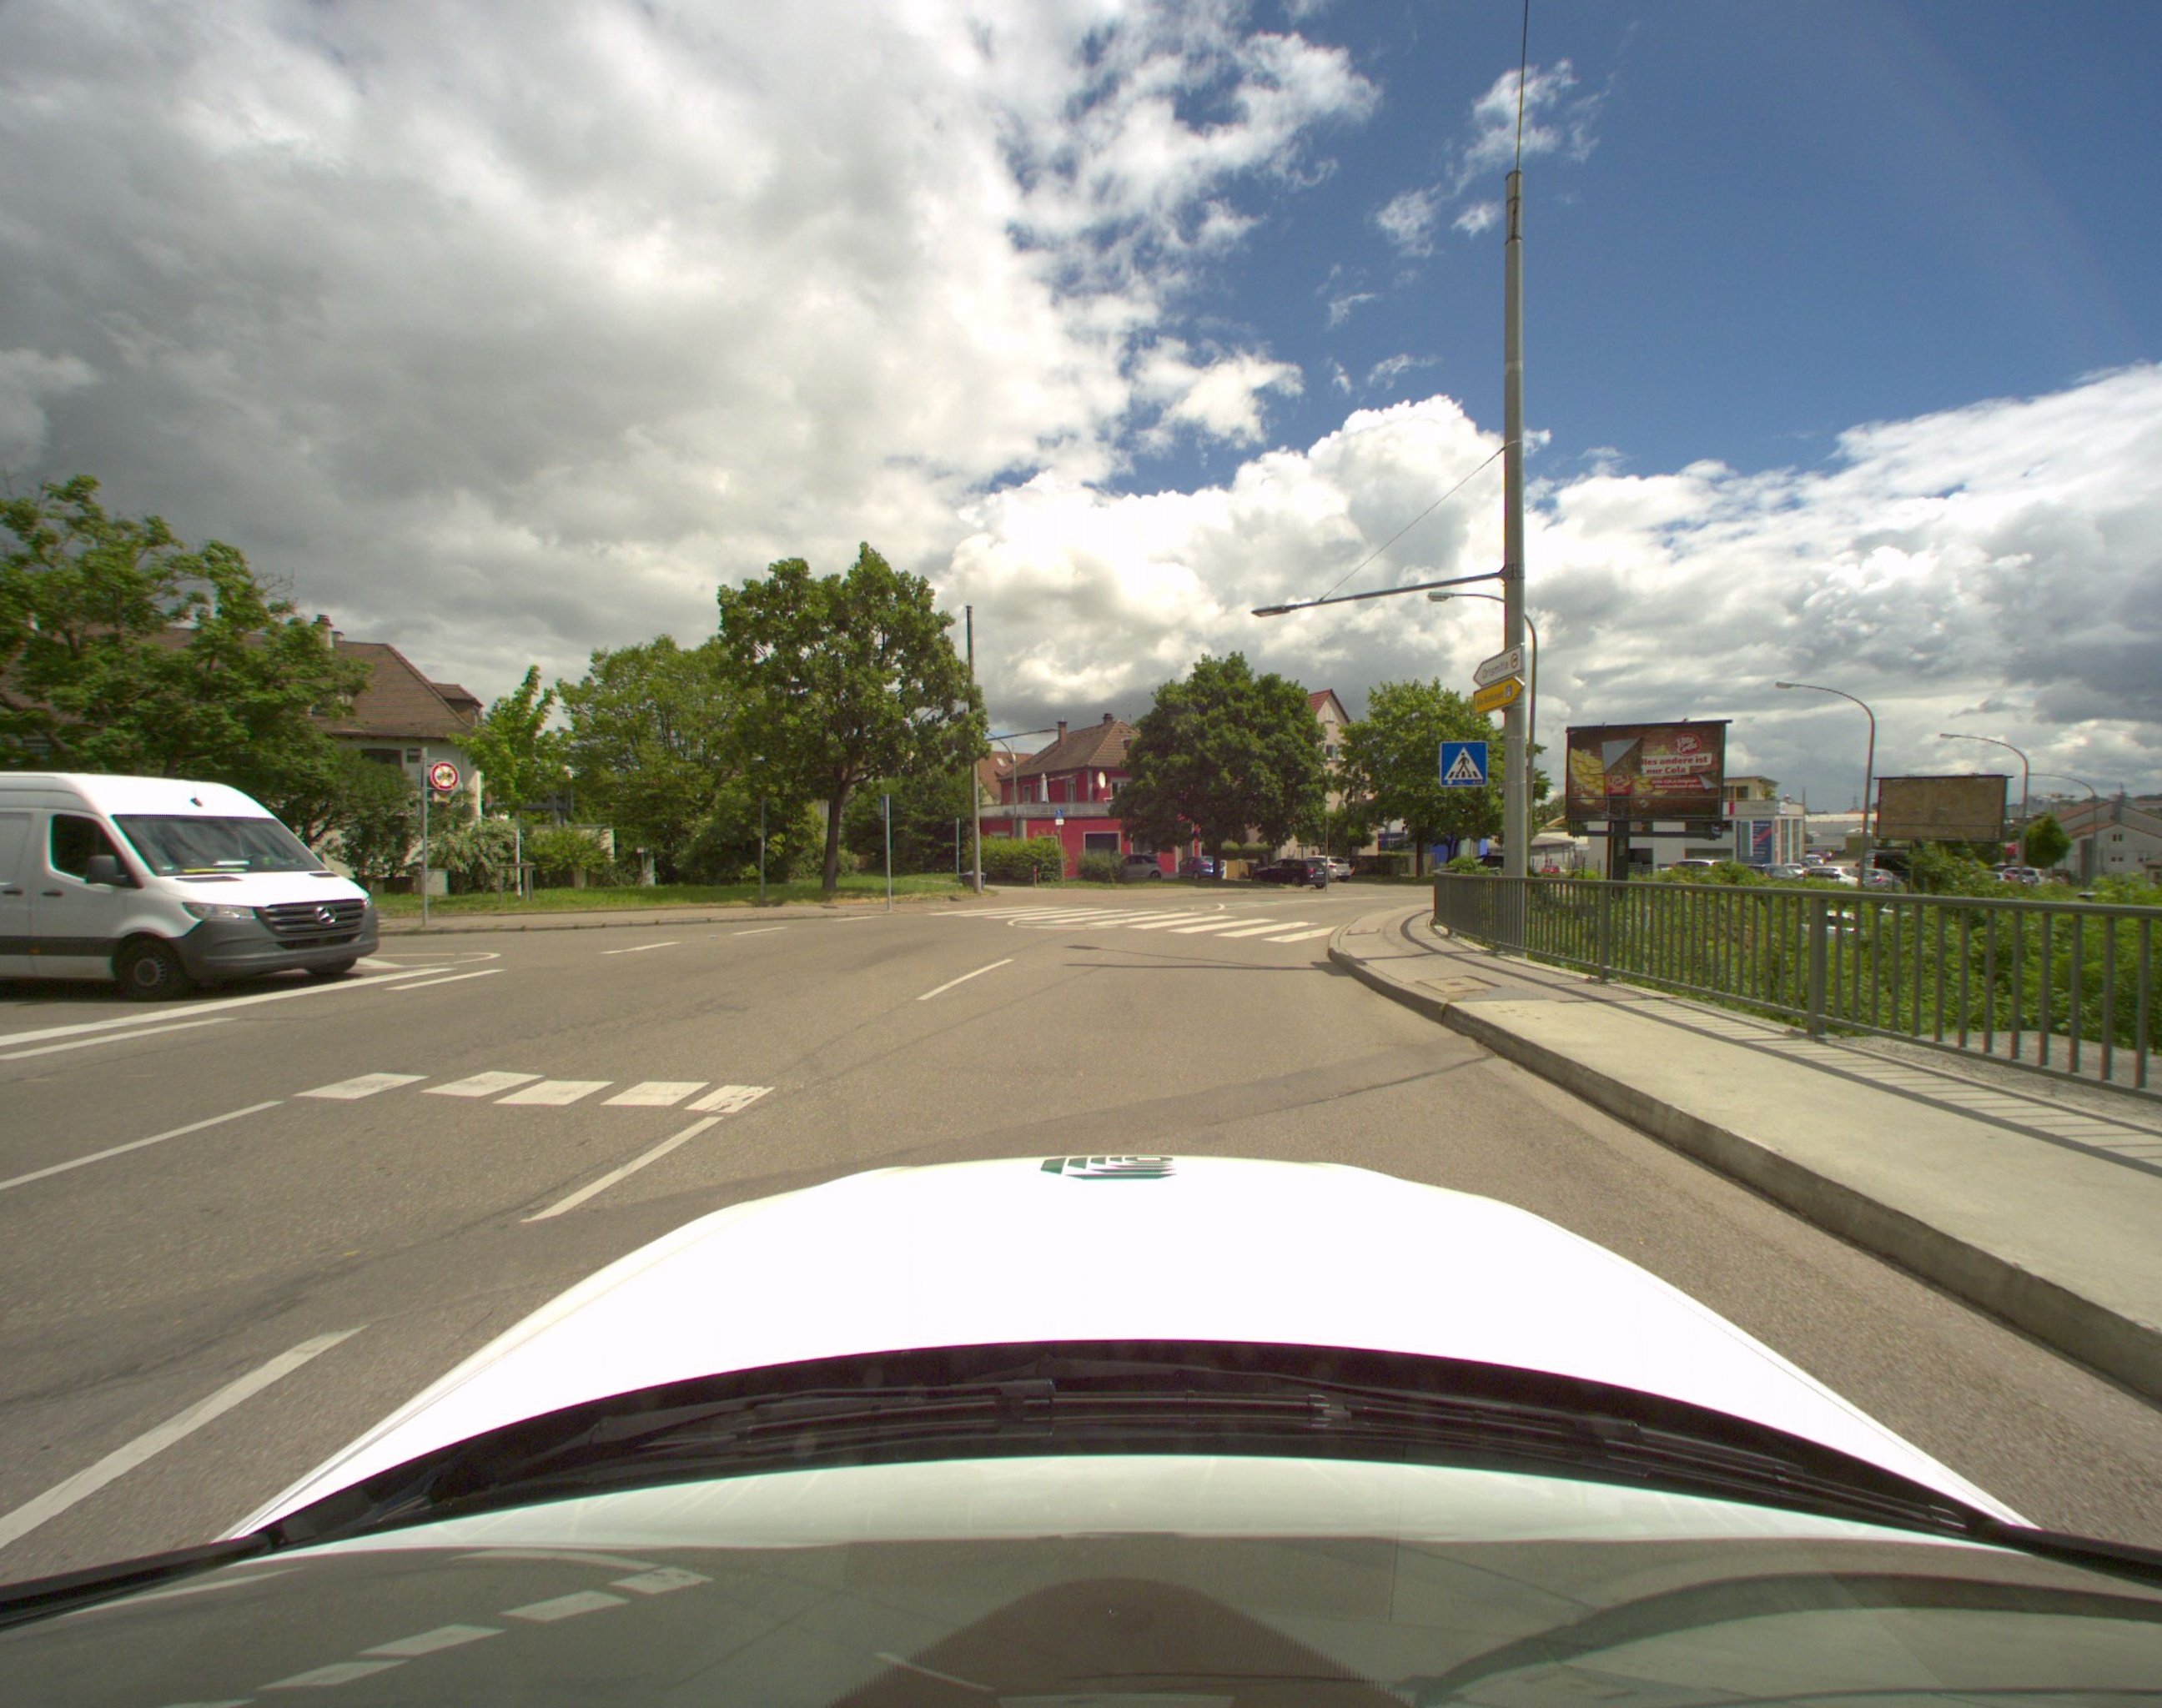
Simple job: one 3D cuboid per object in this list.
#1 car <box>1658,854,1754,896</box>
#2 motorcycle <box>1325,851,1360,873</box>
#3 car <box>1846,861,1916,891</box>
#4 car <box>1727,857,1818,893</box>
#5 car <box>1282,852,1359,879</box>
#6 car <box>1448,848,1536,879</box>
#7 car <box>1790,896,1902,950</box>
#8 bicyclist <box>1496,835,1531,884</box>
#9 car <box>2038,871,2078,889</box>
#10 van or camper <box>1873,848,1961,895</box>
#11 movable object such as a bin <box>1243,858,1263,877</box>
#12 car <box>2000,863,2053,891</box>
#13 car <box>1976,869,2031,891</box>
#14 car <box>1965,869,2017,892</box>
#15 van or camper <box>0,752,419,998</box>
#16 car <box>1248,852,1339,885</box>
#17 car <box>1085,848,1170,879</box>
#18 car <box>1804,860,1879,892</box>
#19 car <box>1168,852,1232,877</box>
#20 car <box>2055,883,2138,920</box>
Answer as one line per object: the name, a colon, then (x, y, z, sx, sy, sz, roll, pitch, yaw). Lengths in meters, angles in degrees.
car: (26.924, 0.887, 35.041, 4.320, 1.677, 1.695, 1, 1, -30)
motorcycle: (16.901, 0.514, 52.612, 2.243, 1.315, 0.911, 1, 1, -31)
car: (42.605, 1.152, 43.354, 3.706, 1.510, 1.695, 1, 1, -30)
car: (31.847, 0.952, 37.466, 4.585, 1.487, 1.695, 1, 1, -30)
car: (13.475, 0.609, 45.946, 1.883, 1.404, 3.892, 1, 0, -32)
car: (26.303, 0.578, 52.315, 2.005, 1.716, 4.671, 3, 1, -29)
car: (25.138, 2.216, 26.746, 3.518, 1.510, 1.695, 1, 1, -30)
bicyclist: (16.260, 0.225, 30.627, 1.083, 1.826, 0.680, 1, -2, -29)
car: (91.556, 2.430, 76.288, 4.015, 1.618, 1.979, 2, -2, -34)
van or camper: (47.985, 1.014, 46.720, 5.933, 2.585, 2.111, 1, -1, -30)
movable object such as a bin: (10.334, 0.812, 49.004, 0.882, 1.061, 0.752, 1, 1, -25)
car: (72.841, 1.785, 62.739, 4.935, 2.013, 1.980, 1, 0, -33)
car: (63.765, 1.786, 56.280, 4.014, 1.508, 1.862, 1, -2, -32)
car: (59.999, 1.730, 53.681, 2.916, 1.506, 1.781, 1, -2, -32)
van or camper: (-11.851, 0.283, 9.956, 5.881, 2.567, 2.197, -2, 0, 5)
car: (10.226, 0.674, 39.488, 2.005, 1.393, 4.107, 1, 2, -29)
car: (2.395, 0.473, 41.544, 4.090, 1.425, 1.630, 0, 2, -30)
car: (38.108, 1.066, 40.786, 3.970, 1.479, 1.695, 1, 1, -31)
car: (6.915, 0.567, 47.779, 1.848, 1.377, 3.779, 0, 0, -28)
car: (47.338, 2.167, 37.949, 4.542, 1.510, 1.695, 1, 1, -30)
